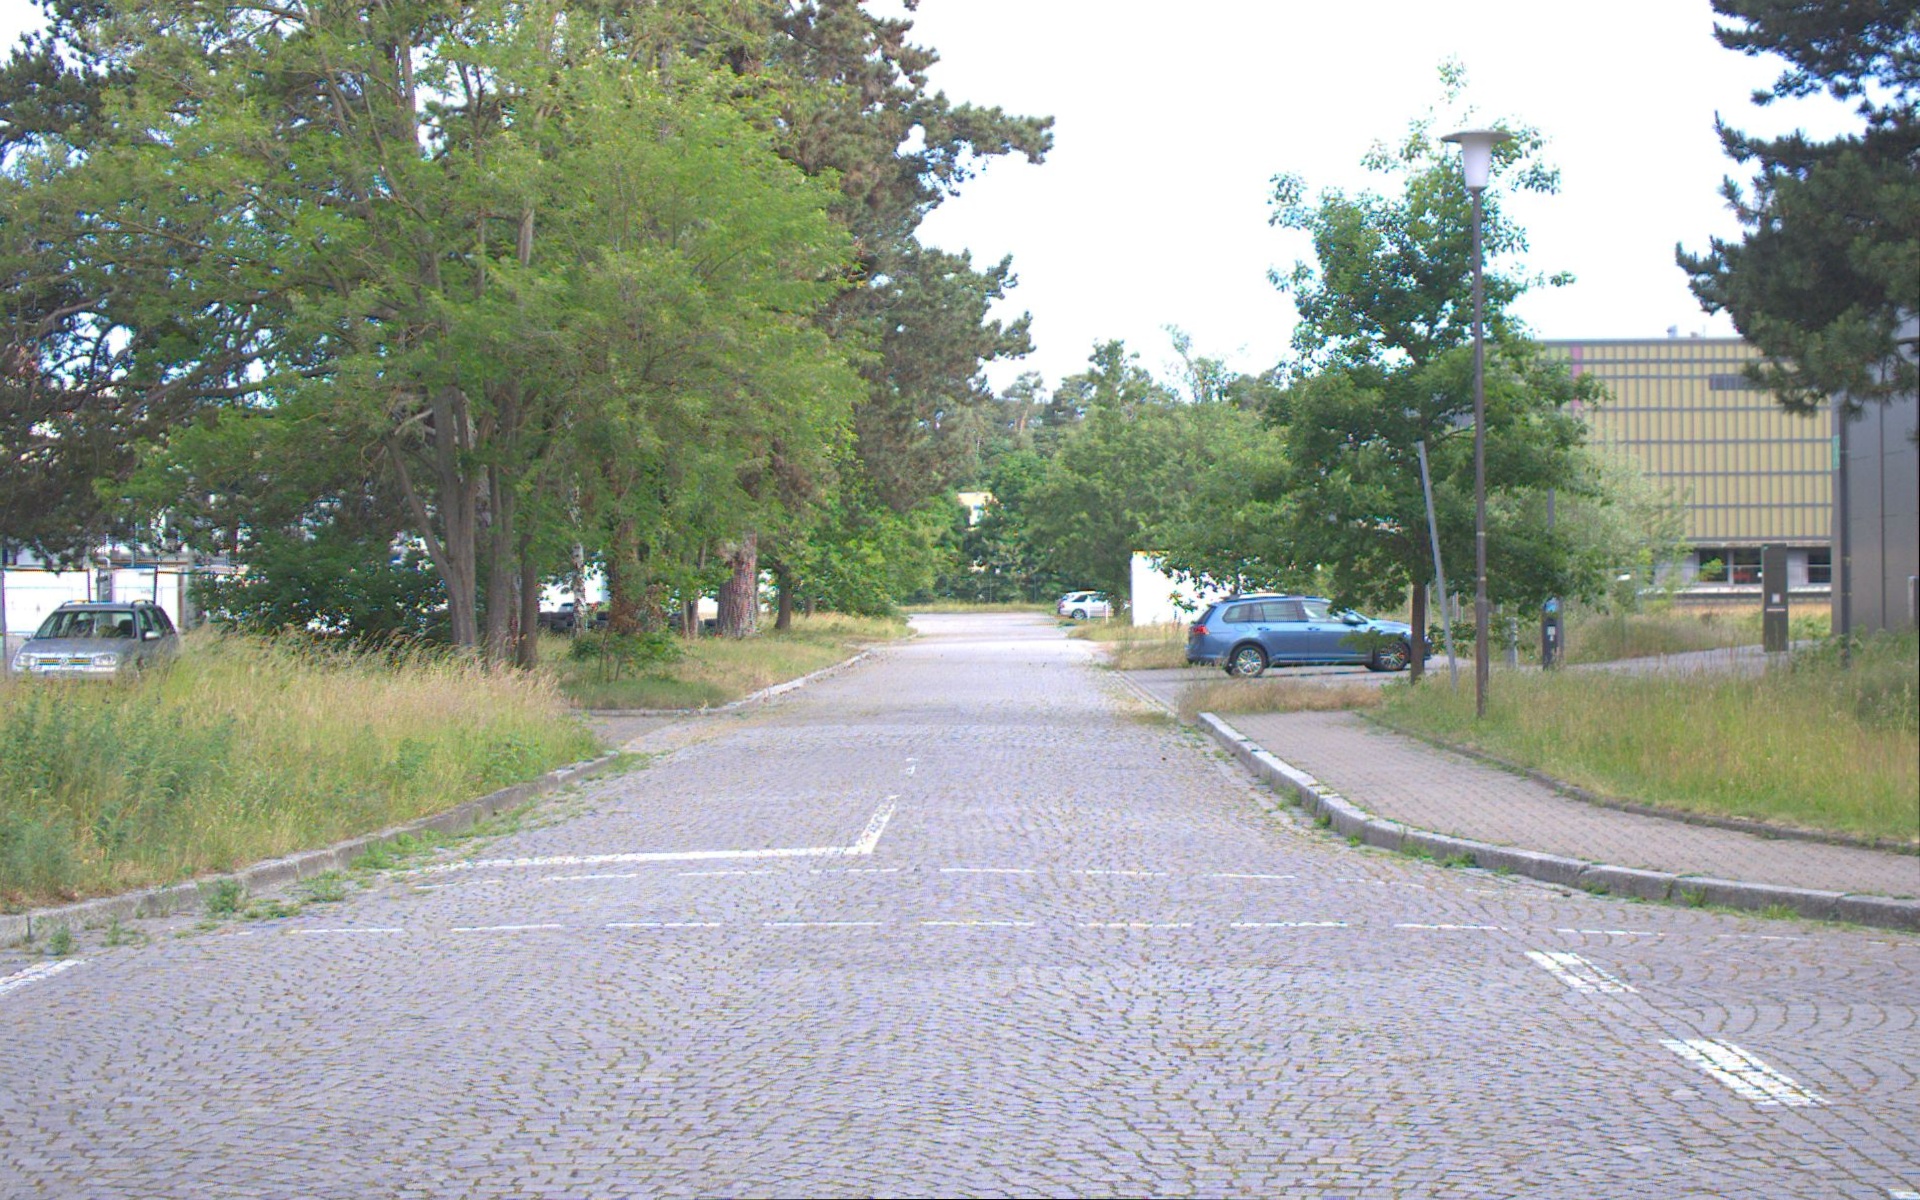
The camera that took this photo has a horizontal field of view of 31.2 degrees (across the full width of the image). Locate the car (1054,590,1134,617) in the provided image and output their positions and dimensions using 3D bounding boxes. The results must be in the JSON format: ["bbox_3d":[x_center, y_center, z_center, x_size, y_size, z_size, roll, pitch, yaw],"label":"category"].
[{"bbox_3d":[7.034,0.163,180.949,3.986,1.393,2.000,0,0,-5],"label":"car"}]

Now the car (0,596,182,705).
[{"bbox_3d":[-12.471,0.697,49.398,1.613,1.482,4.000,0,0,1],"label":"car"}]

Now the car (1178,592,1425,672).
[{"bbox_3d":[6.305,0.579,63.861,4.344,1.417,2.000,0,0,-1],"label":"car"}]
